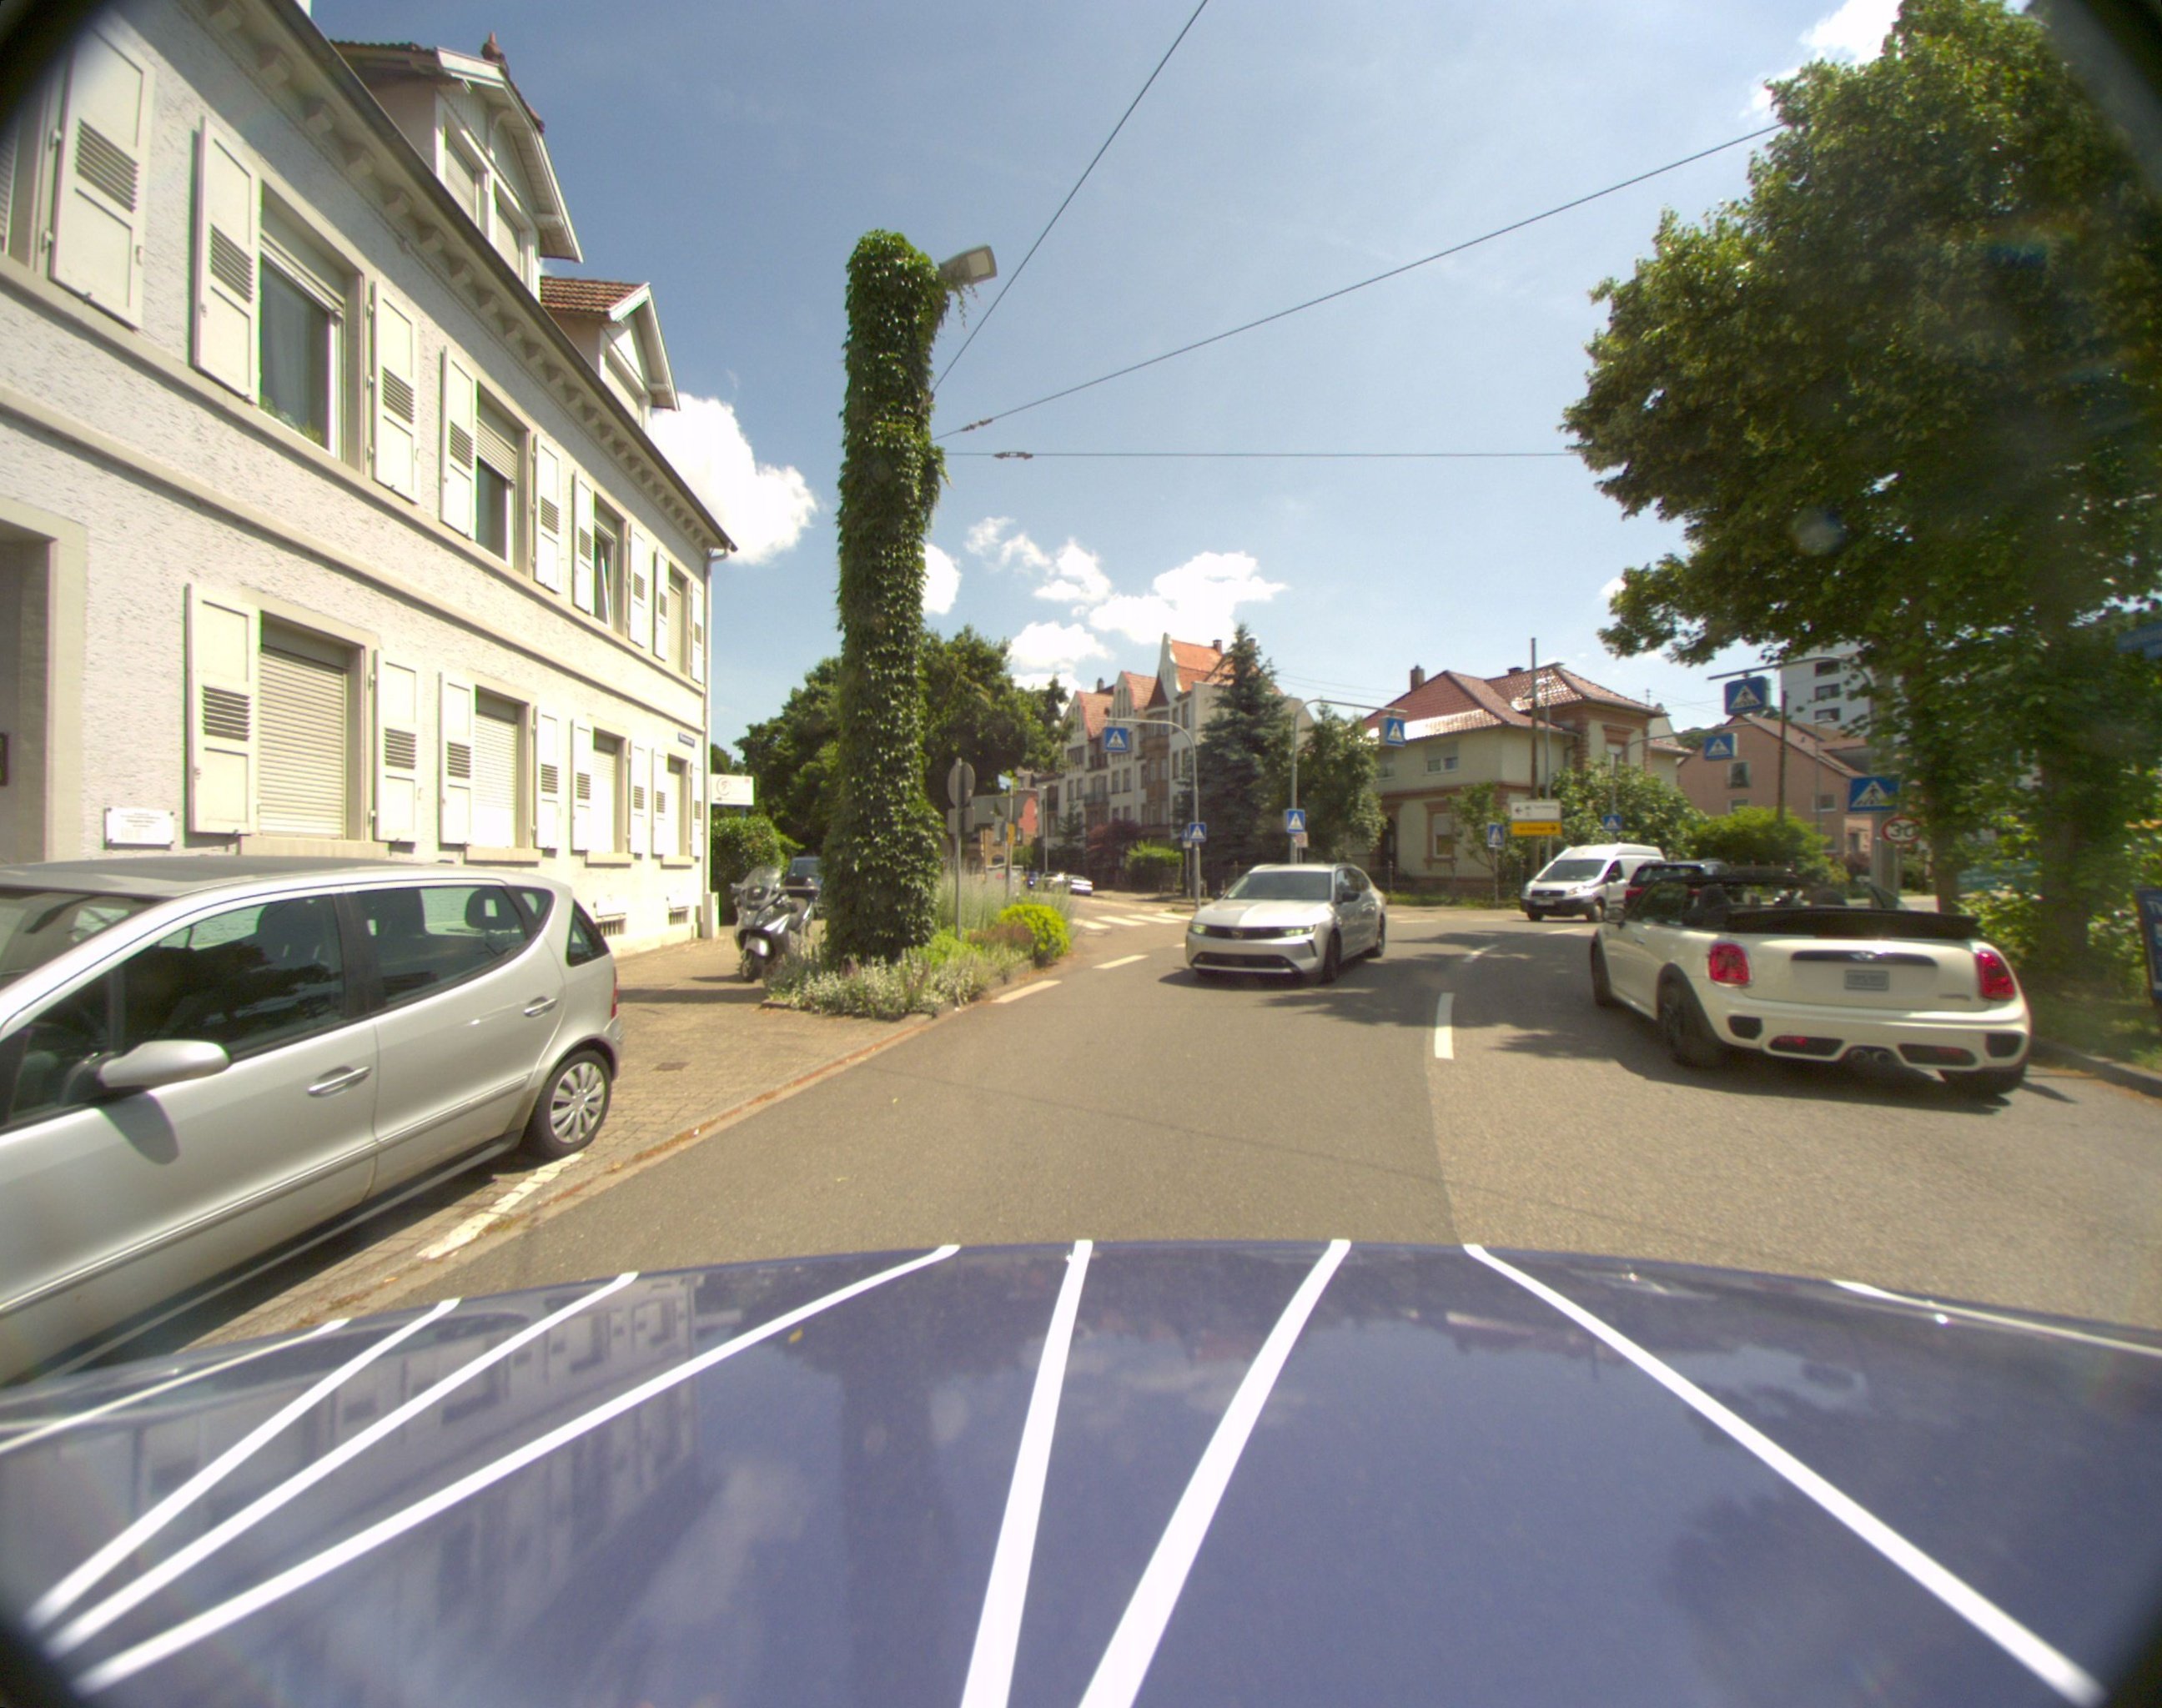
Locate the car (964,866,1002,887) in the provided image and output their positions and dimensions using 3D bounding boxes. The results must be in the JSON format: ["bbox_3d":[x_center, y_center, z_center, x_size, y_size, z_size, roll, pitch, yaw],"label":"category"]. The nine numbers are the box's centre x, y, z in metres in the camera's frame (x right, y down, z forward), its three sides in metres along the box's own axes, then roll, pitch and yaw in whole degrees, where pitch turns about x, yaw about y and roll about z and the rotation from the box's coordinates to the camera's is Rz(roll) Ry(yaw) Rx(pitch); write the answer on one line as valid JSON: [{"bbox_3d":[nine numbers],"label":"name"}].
[{"bbox_3d":[-8.862,2.032,68.474,1.778,1.604,3.865,6,-3,-32],"label":"car"}]

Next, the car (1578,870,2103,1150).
[{"bbox_3d":[5.548,0.909,6.269,1.775,1.455,3.753,0,0,23],"label":"car"}]

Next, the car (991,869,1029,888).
[{"bbox_3d":[-5.971,2.046,63.438,1.778,1.379,3.992,6,-3,-25],"label":"car"}]

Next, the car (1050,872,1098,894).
[{"bbox_3d":[-0.506,1.836,48.574,1.820,1.318,3.993,1,-1,-21],"label":"car"}]

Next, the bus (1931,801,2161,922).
[{"bbox_3d":[31.384,0.278,24.057,10.872,3.277,2.703,1,-1,-24],"label":"bus"}]

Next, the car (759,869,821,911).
[{"bbox_3d":[-11.592,1.383,30.155,1.717,1.516,3.845,1,-2,-30],"label":"car"}]

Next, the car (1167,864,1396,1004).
[{"bbox_3d":[2.980,0.920,10.606,1.797,1.457,4.179,-1,0,34],"label":"car"}]

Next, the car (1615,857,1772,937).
[{"bbox_3d":[14.233,0.922,17.572,4.337,1.622,1.857,1,0,-38],"label":"car"}]

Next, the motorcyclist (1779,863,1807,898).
[{"bbox_3d":[25.484,0.944,27.185,0.556,1.236,0.540,0,0,-19],"label":"motorcyclist"}]

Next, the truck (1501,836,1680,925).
[{"bbox_3d":[14.437,0.730,21.449,5.417,2.235,2.017,1,-2,-30],"label":"truck"}]

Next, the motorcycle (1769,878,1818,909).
[{"bbox_3d":[25.506,1.416,27.205,1.437,1.051,0.668,0,0,-19],"label":"motorcycle"}]

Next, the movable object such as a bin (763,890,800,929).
[{"bbox_3d":[-7.746,1.424,19.666,0.616,0.955,0.635,0,0,11],"label":"movable object such as a bin"}]

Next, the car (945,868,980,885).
[{"bbox_3d":[-11.291,2.143,72.211,1.779,1.382,3.865,6,-3,-34],"label":"car"}]

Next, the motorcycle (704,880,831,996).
[{"bbox_3d":[-4.206,1.064,10.441,0.802,1.344,2.338,0,0,-1],"label":"motorcycle"}]

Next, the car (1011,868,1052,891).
[{"bbox_3d":[-3.838,1.922,58.358,1.777,1.506,3.992,6,-3,-23],"label":"car"}]

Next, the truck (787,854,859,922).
[{"bbox_3d":[-8.346,1.036,24.315,1.918,1.914,5.272,1,-2,-21],"label":"truck"}]

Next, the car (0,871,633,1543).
[{"bbox_3d":[-3.600,0.943,2.632,1.731,1.601,3.800,2,0,2],"label":"car"}]

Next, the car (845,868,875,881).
[{"bbox_3d":[-27.076,2.488,92.985,2.004,1.608,4.174,0,-1,-40],"label":"car"}]

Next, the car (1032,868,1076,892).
[{"bbox_3d":[-1.947,1.786,53.481,1.777,1.506,3.993,6,-3,-21],"label":"car"}]
